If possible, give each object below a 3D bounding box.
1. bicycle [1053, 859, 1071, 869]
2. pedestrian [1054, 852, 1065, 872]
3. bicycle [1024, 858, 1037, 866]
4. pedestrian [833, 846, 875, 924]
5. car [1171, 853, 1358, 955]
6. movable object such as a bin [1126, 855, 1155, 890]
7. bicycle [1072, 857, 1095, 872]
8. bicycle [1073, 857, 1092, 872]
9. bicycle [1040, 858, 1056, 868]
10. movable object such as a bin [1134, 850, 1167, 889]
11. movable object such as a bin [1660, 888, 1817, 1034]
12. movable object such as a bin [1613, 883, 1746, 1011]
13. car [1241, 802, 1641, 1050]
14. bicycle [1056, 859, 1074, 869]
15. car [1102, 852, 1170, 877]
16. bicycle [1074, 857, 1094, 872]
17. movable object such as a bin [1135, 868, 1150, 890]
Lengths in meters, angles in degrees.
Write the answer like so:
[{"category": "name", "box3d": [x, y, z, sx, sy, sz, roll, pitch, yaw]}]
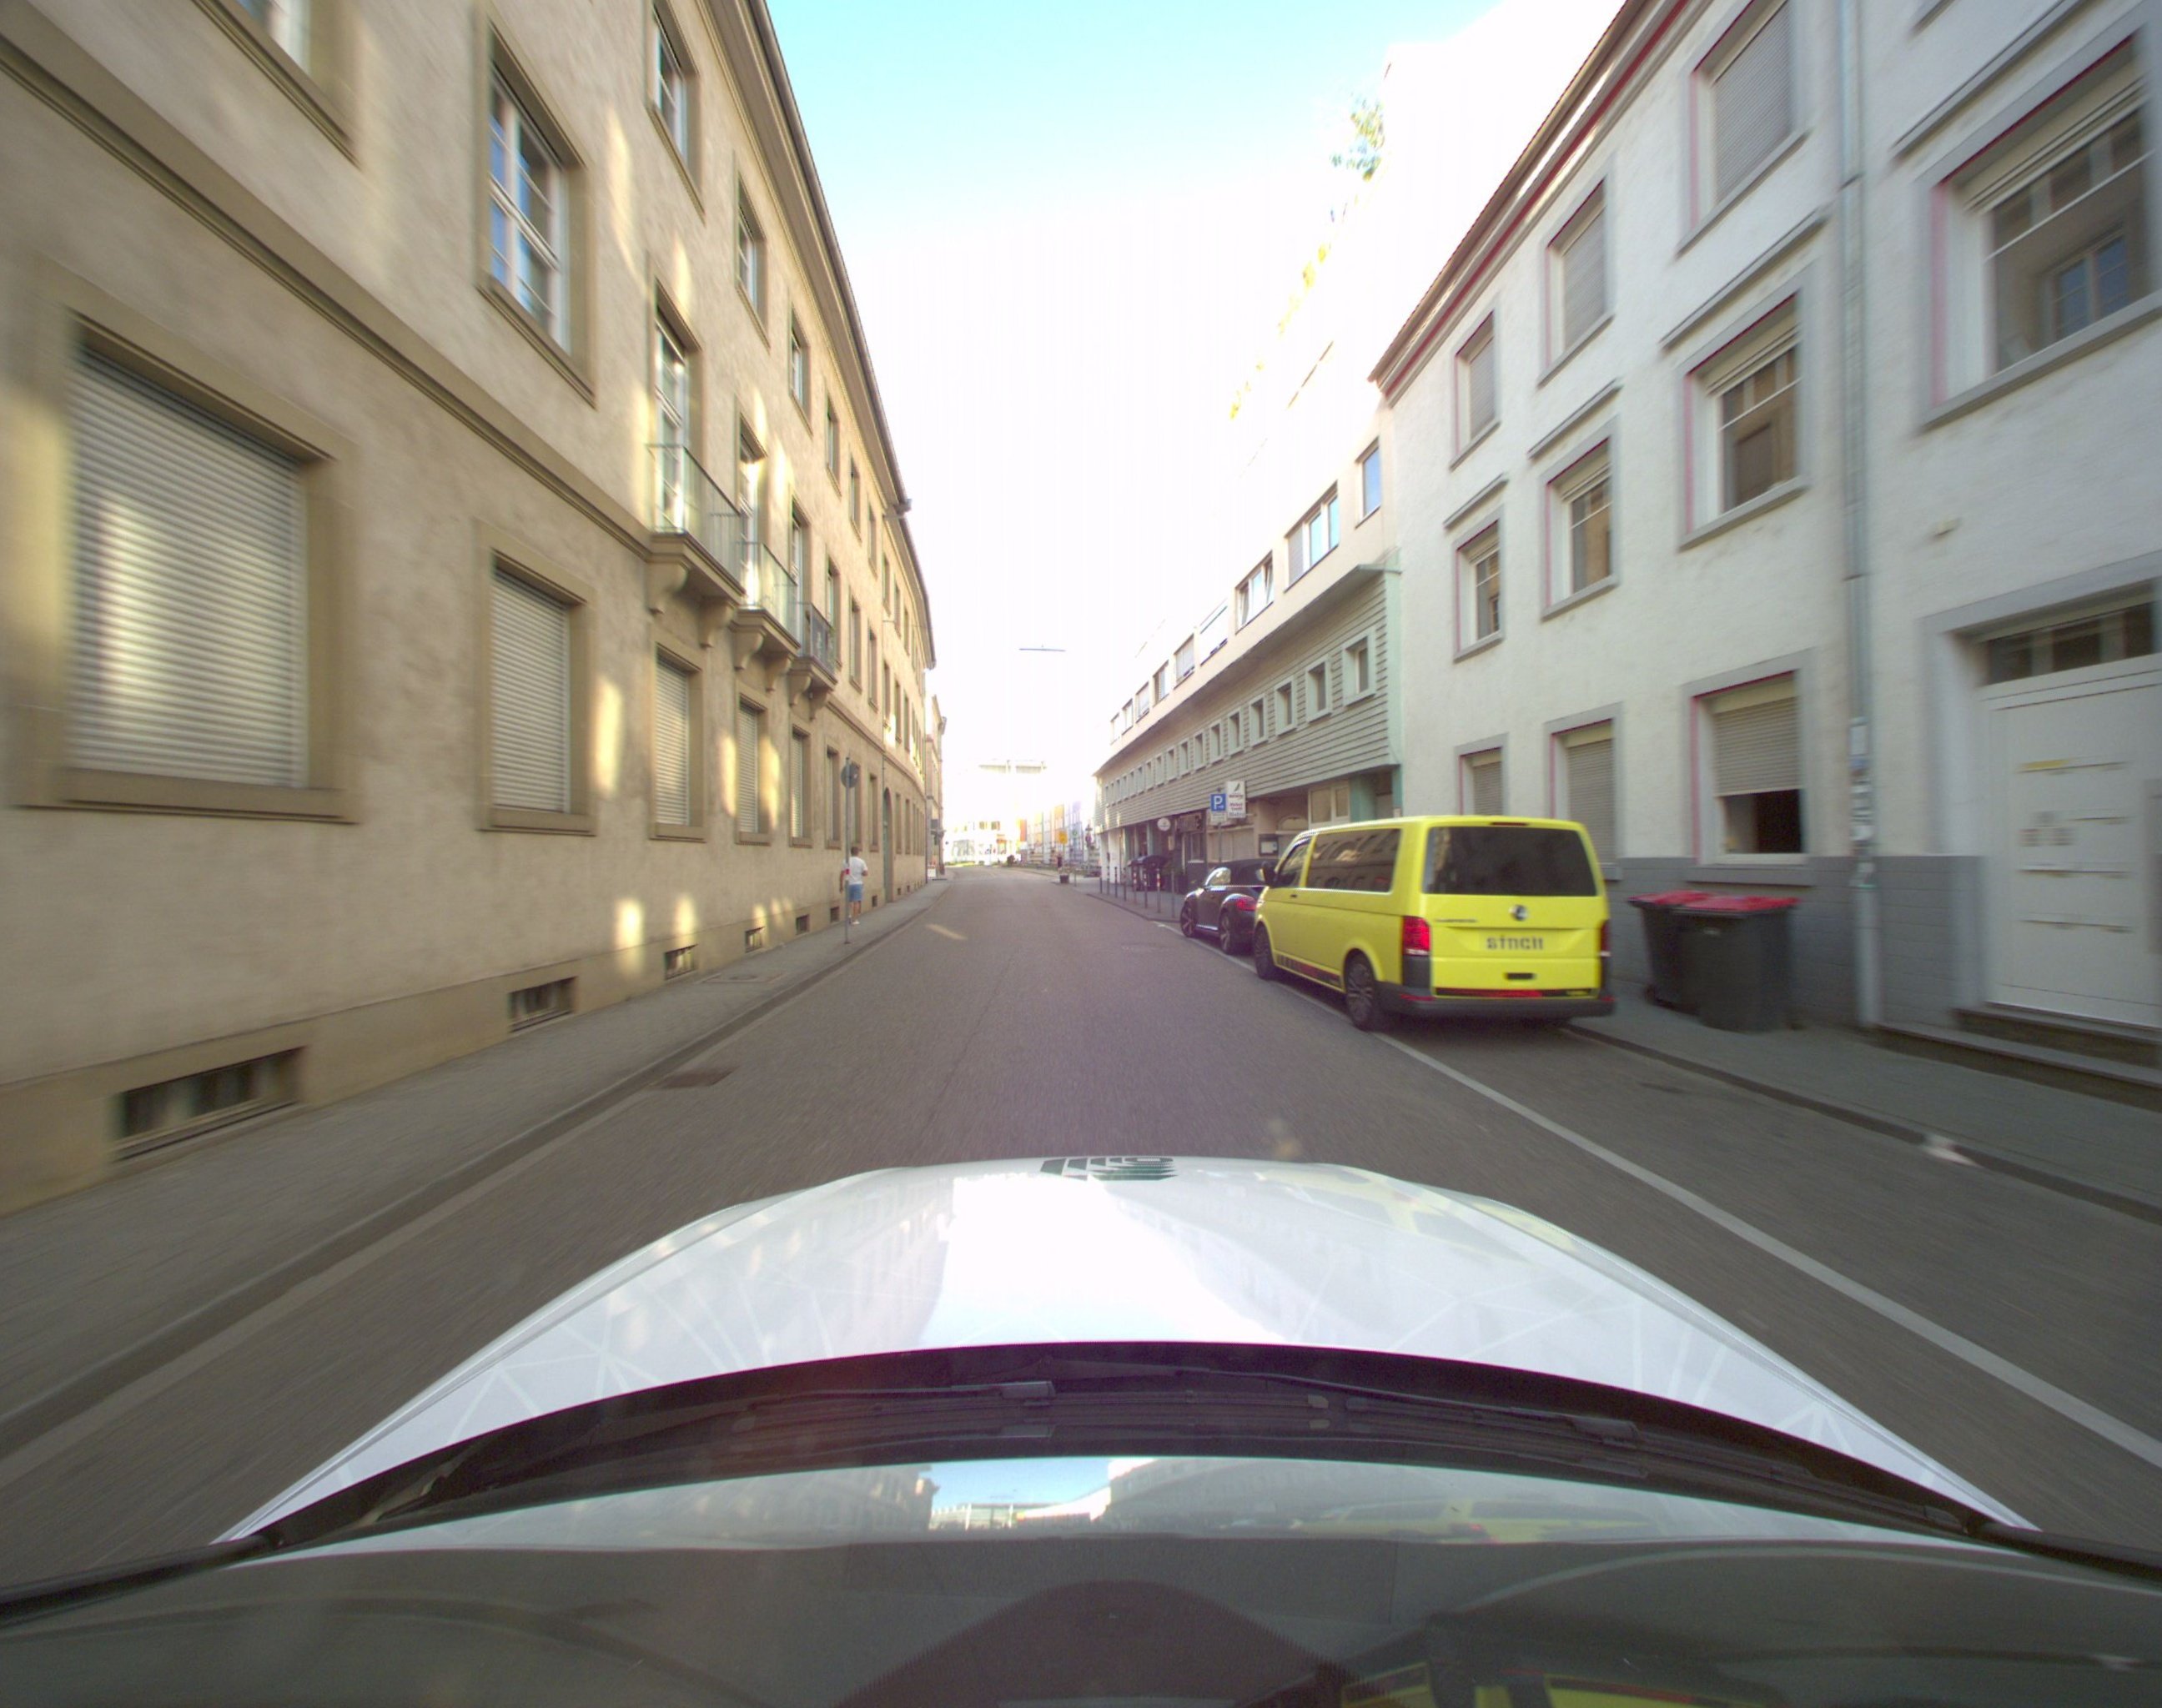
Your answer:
[{"category": "bicycle", "box3d": [-1.924, 1.050, 82.353, 1.748, 0.946, 0.550, -2, -1, -10]}, {"category": "pedestrian", "box3d": [-1.904, 0.685, 71.475, 0.696, 1.760, 1.185, -3, 0, -9]}, {"category": "bicycle", "box3d": [-7.003, 1.151, 112.741, 1.756, 1.004, 0.610, -2, -1, -14]}, {"category": "pedestrian", "box3d": [-5.018, 0.681, 18.030, 0.691, 1.670, 0.873, 1, -1, -5]}, {"category": "car", "box3d": [2.955, 0.729, 14.175, 1.881, 1.489, 4.358, 0, 0, -6]}, {"category": "movable object such as a bin", "box3d": [2.506, 0.798, 34.447, 0.980, 1.385, 1.317, -2, -2, -7]}, {"category": "bicycle", "box3d": [0.217, 0.909, 68.687, 1.748, 1.141, 0.550, -4, 1, -10]}, {"category": "bicycle", "box3d": [0.159, 0.906, 70.321, 1.606, 1.141, 0.236, -4, 1, -18]}, {"category": "bicycle", "box3d": [-4.032, 1.125, 98.977, 1.811, 1.137, 0.550, -1, -1, -11]}, {"category": "movable object such as a bin", "box3d": [2.791, 0.640, 32.905, 0.980, 1.480, 1.547, -2, -2, -7]}, {"category": "movable object such as a bin", "box3d": [5.413, 0.848, 6.742, 0.626, 1.051, 0.706, -6, 0, -9]}, {"category": "movable object such as a bin", "box3d": [5.525, 0.830, 7.550, 0.605, 1.051, 0.707, -6, 0, -5]}, {"category": "car", "box3d": [3.258, 0.546, 8.673, 1.880, 1.882, 4.838, 0, 0, -4]}, {"category": "bicycle", "box3d": [-1.667, 1.052, 84.206, 1.747, 0.946, 0.325, -2, -1, -9]}, {"category": "car", "box3d": [3.558, 0.670, 52.809, 4.077, 1.482, 1.859, -1, -1, -9]}, {"category": "bicycle", "box3d": [0.249, 0.901, 70.061, 1.645, 1.141, 0.281, -4, 1, -18]}, {"category": "movable object such as a bin", "box3d": [2.669, 1.092, 35.433, 0.556, 0.899, 0.522, -2, -2, -7]}]
